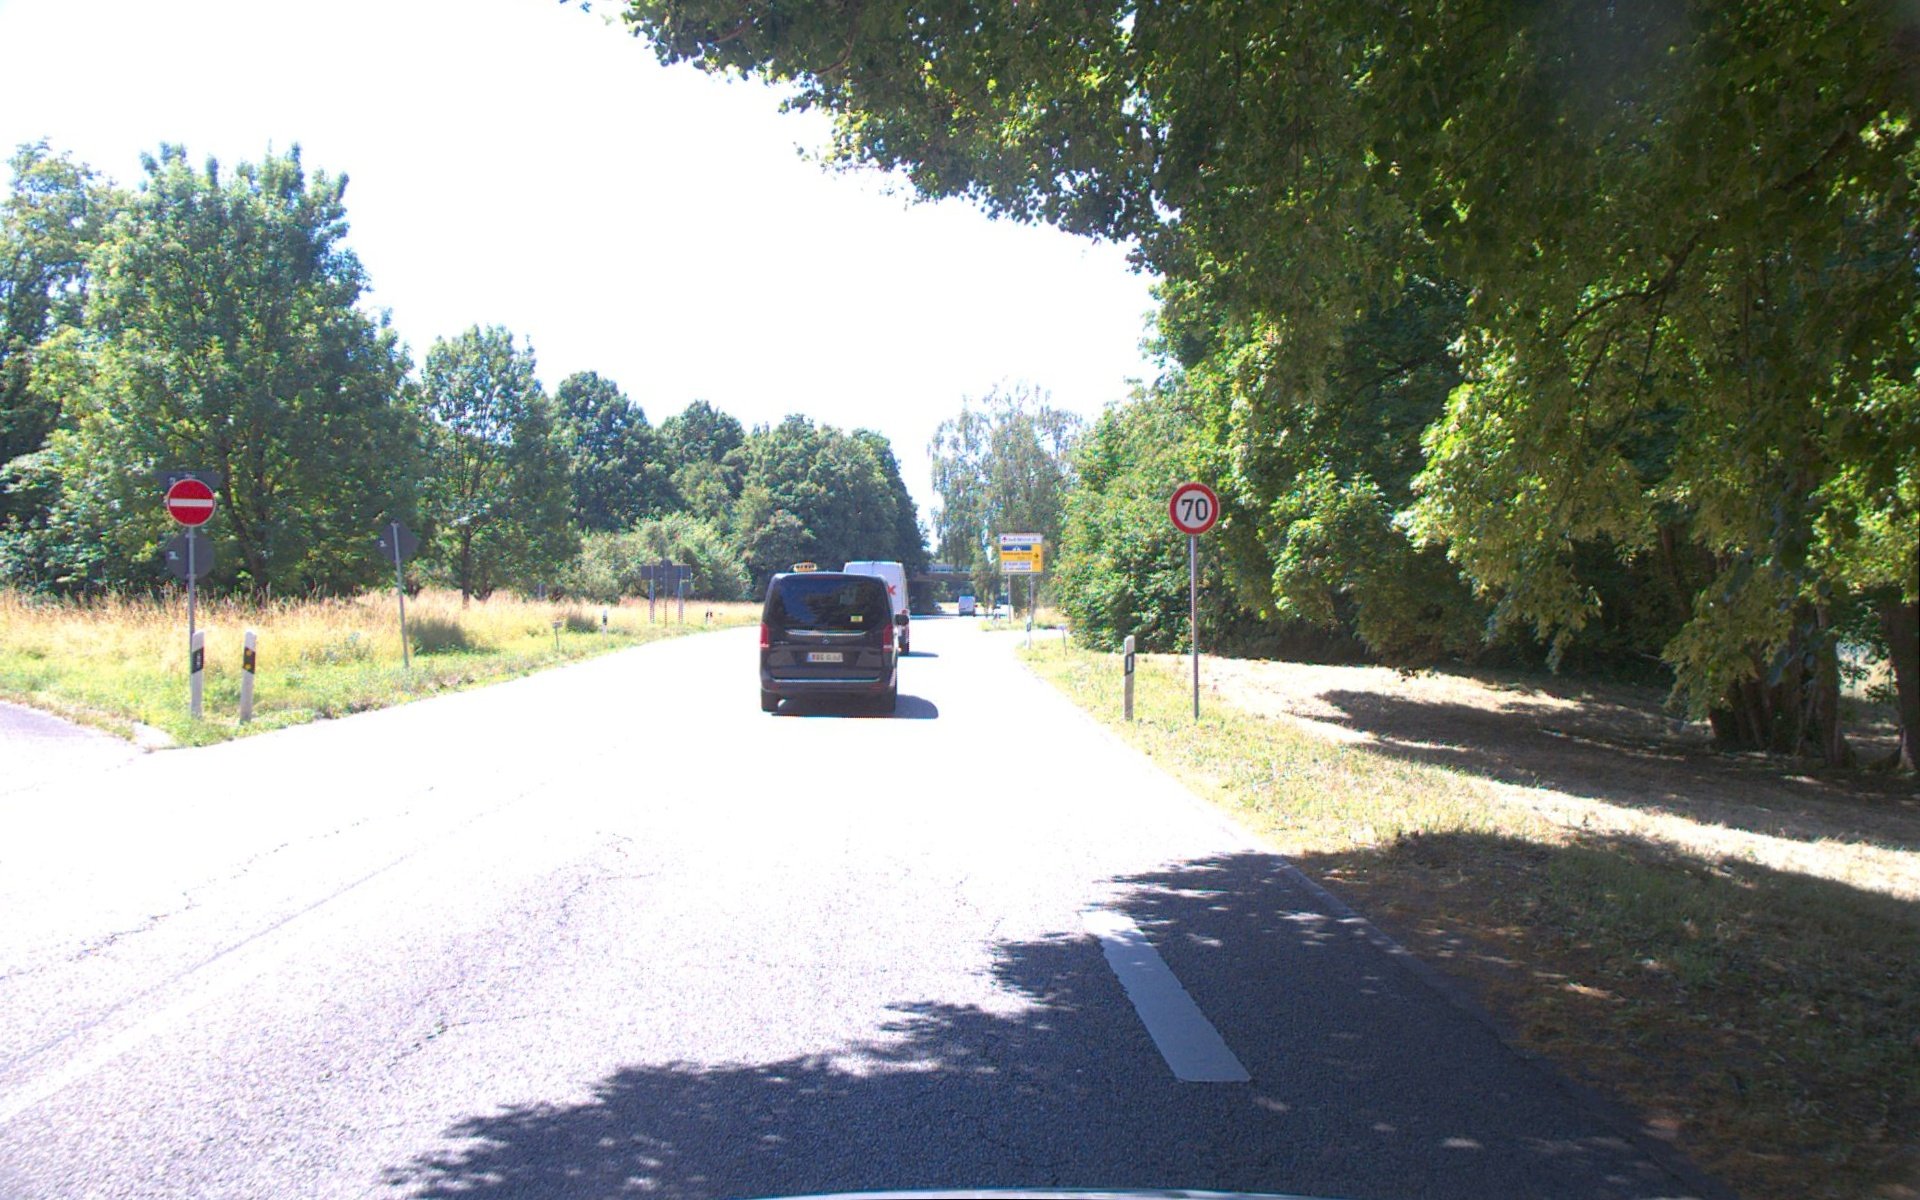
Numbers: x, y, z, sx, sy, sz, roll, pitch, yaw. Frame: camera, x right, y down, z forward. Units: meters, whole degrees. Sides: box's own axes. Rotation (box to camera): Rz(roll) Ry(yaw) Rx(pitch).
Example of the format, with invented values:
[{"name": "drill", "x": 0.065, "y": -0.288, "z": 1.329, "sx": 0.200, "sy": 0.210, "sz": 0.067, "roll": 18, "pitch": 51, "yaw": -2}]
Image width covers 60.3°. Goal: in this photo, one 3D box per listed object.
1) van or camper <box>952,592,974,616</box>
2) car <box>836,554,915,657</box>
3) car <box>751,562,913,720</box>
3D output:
[{"name": "van or camper", "x": 0.405, "y": 0.493, "z": 213.331, "sx": 2.579, "sy": 2.980, "sz": 5.204, "roll": 1, "pitch": 0, "yaw": -2}, {"name": "car", "x": -2.365, "y": 0.166, "z": 47.517, "sx": 2.036, "sy": 2.750, "sz": 4.665, "roll": 2, "pitch": 0, "yaw": -1}, {"name": "car", "x": -1.732, "y": 0.542, "z": 23.926, "sx": 1.953, "sy": 1.987, "sz": 5.004, "roll": 2, "pitch": 0, "yaw": -1}]
